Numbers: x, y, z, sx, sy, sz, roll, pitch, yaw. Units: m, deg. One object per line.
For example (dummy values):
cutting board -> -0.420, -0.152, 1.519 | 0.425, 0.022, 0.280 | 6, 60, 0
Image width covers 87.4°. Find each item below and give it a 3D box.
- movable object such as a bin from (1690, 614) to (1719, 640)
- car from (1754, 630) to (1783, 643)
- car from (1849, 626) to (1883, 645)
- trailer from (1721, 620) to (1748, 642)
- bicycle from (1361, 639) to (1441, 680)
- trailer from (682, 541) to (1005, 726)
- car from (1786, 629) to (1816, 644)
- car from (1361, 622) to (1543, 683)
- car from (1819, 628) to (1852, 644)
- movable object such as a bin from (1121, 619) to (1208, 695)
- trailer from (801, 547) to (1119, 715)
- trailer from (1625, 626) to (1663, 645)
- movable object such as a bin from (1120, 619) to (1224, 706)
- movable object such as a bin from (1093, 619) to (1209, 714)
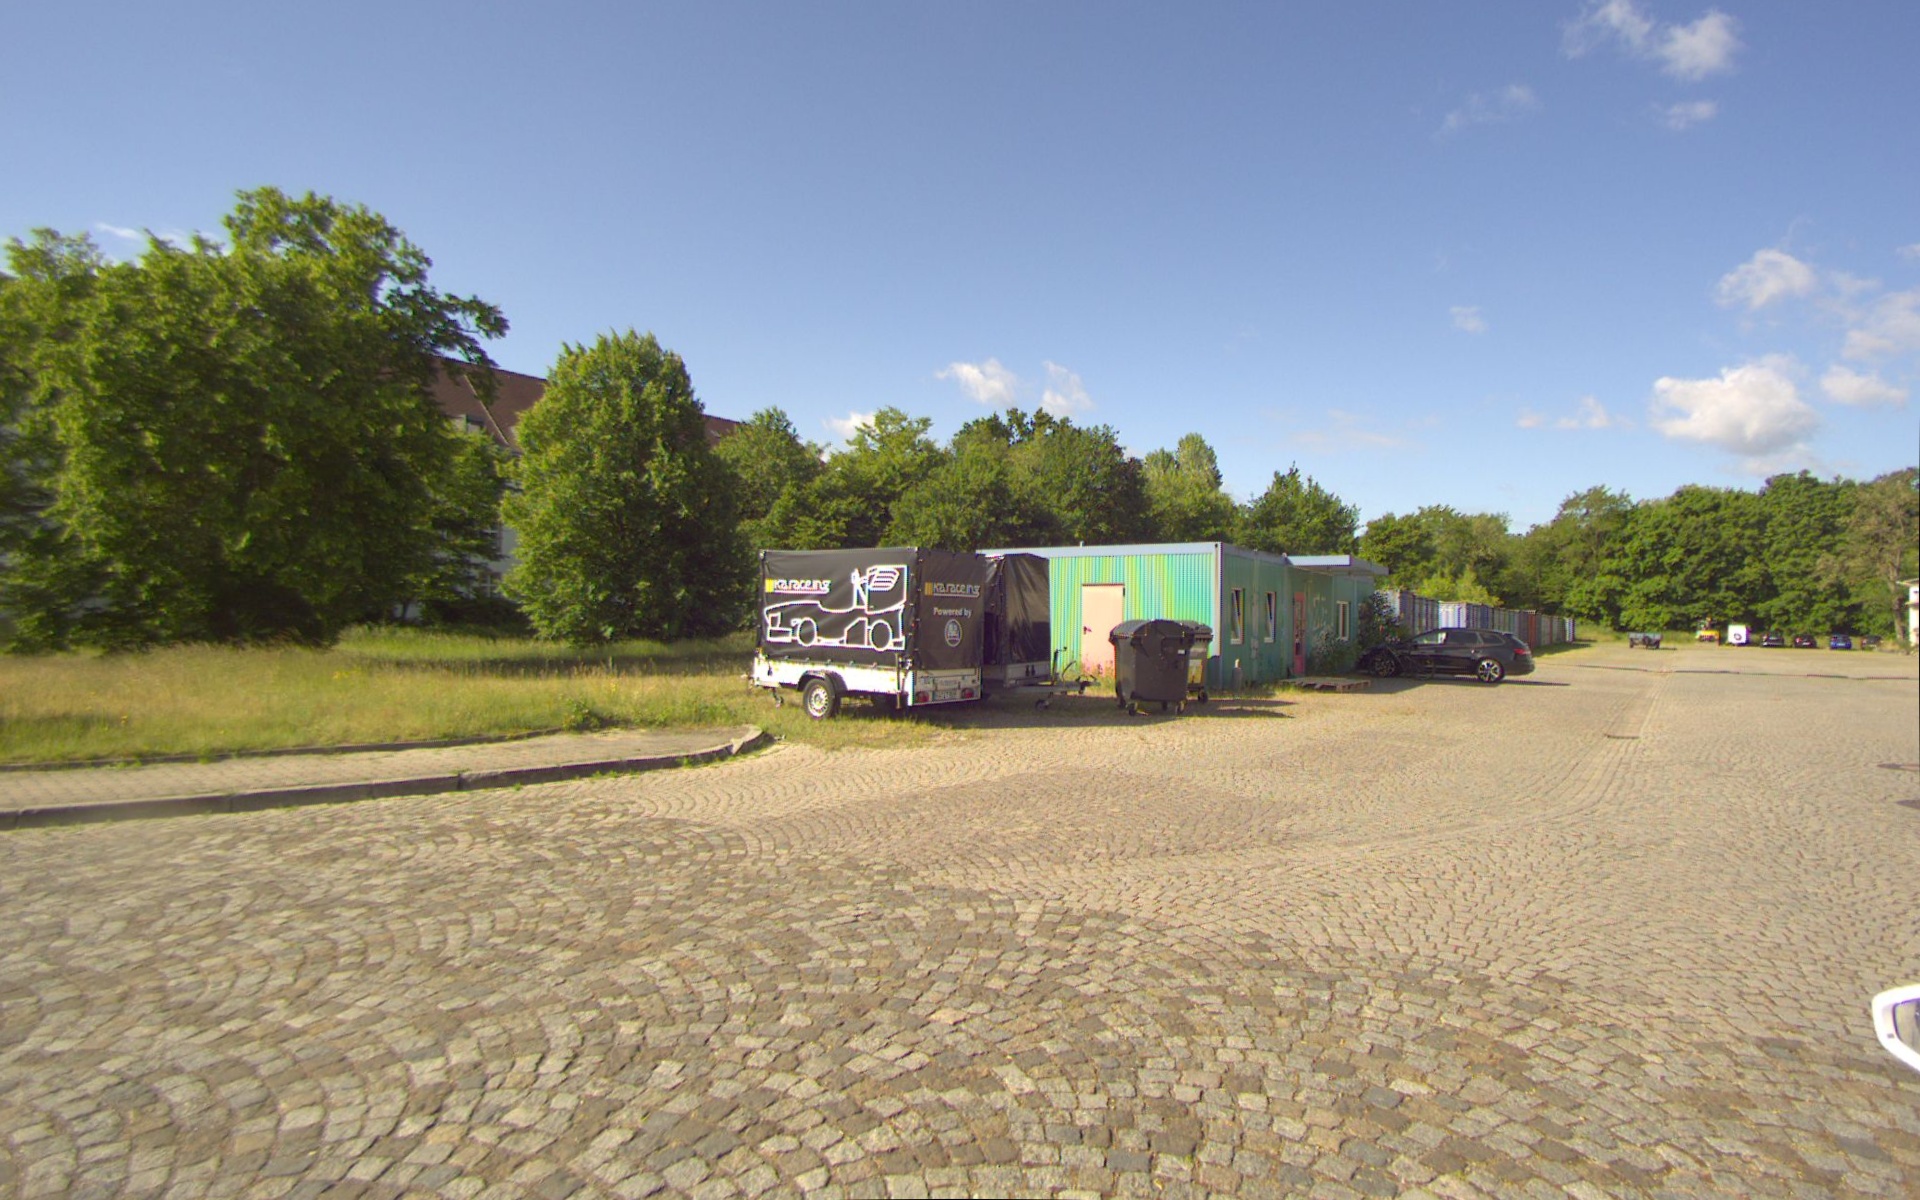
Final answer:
movable object such as a bin -> 77.203, 2.795, 104.200 | 2.201, 2.692, 3.989 | 0, -1, 34
car -> 80.077, 3.586, 99.519 | 1.968, 1.275, 3.986 | -1, -2, 36
car -> 86.906, 3.382, 96.359 | 1.968, 1.796, 3.986 | -1, -2, 36
trailer -> 78.698, 3.152, 102.114 | 1.967, 2.191, 4.417 | -1, -2, 36
bicycle -> 11.981, 1.592, 27.285 | 1.849, 1.041, 1.035 | 0, -1, 34
trailer -> -1.812, 0.453, 14.913 | 4.597, 2.328, 2.128 | 0, -1, 38
car -> 82.285, 3.551, 98.314 | 1.968, 1.443, 3.986 | -1, -2, 36
car -> 13.712, 1.412, 28.041 | 4.353, 1.484, 1.995 | 1, -1, 33
car -> 84.320, 3.492, 96.761 | 1.968, 1.485, 3.986 | -1, -2, 36
movable object such as a bin -> 4.024, 1.087, 19.655 | 1.360, 1.404, 1.535 | 0, -1, 25
trailer -> -0.073, 0.476, 16.540 | 4.890, 2.386, 2.090 | 0, -1, 33
trailer -> 62.240, 3.227, 91.387 | 2.754, 1.668, 5.602 | -1, -2, 35
movable object such as a bin -> 3.767, 1.068, 17.796 | 1.280, 1.441, 1.530 | 0, -1, 38
movable object such as a bin -> 2.954, 1.006, 15.737 | 1.360, 1.404, 1.534 | 1, -1, -8
